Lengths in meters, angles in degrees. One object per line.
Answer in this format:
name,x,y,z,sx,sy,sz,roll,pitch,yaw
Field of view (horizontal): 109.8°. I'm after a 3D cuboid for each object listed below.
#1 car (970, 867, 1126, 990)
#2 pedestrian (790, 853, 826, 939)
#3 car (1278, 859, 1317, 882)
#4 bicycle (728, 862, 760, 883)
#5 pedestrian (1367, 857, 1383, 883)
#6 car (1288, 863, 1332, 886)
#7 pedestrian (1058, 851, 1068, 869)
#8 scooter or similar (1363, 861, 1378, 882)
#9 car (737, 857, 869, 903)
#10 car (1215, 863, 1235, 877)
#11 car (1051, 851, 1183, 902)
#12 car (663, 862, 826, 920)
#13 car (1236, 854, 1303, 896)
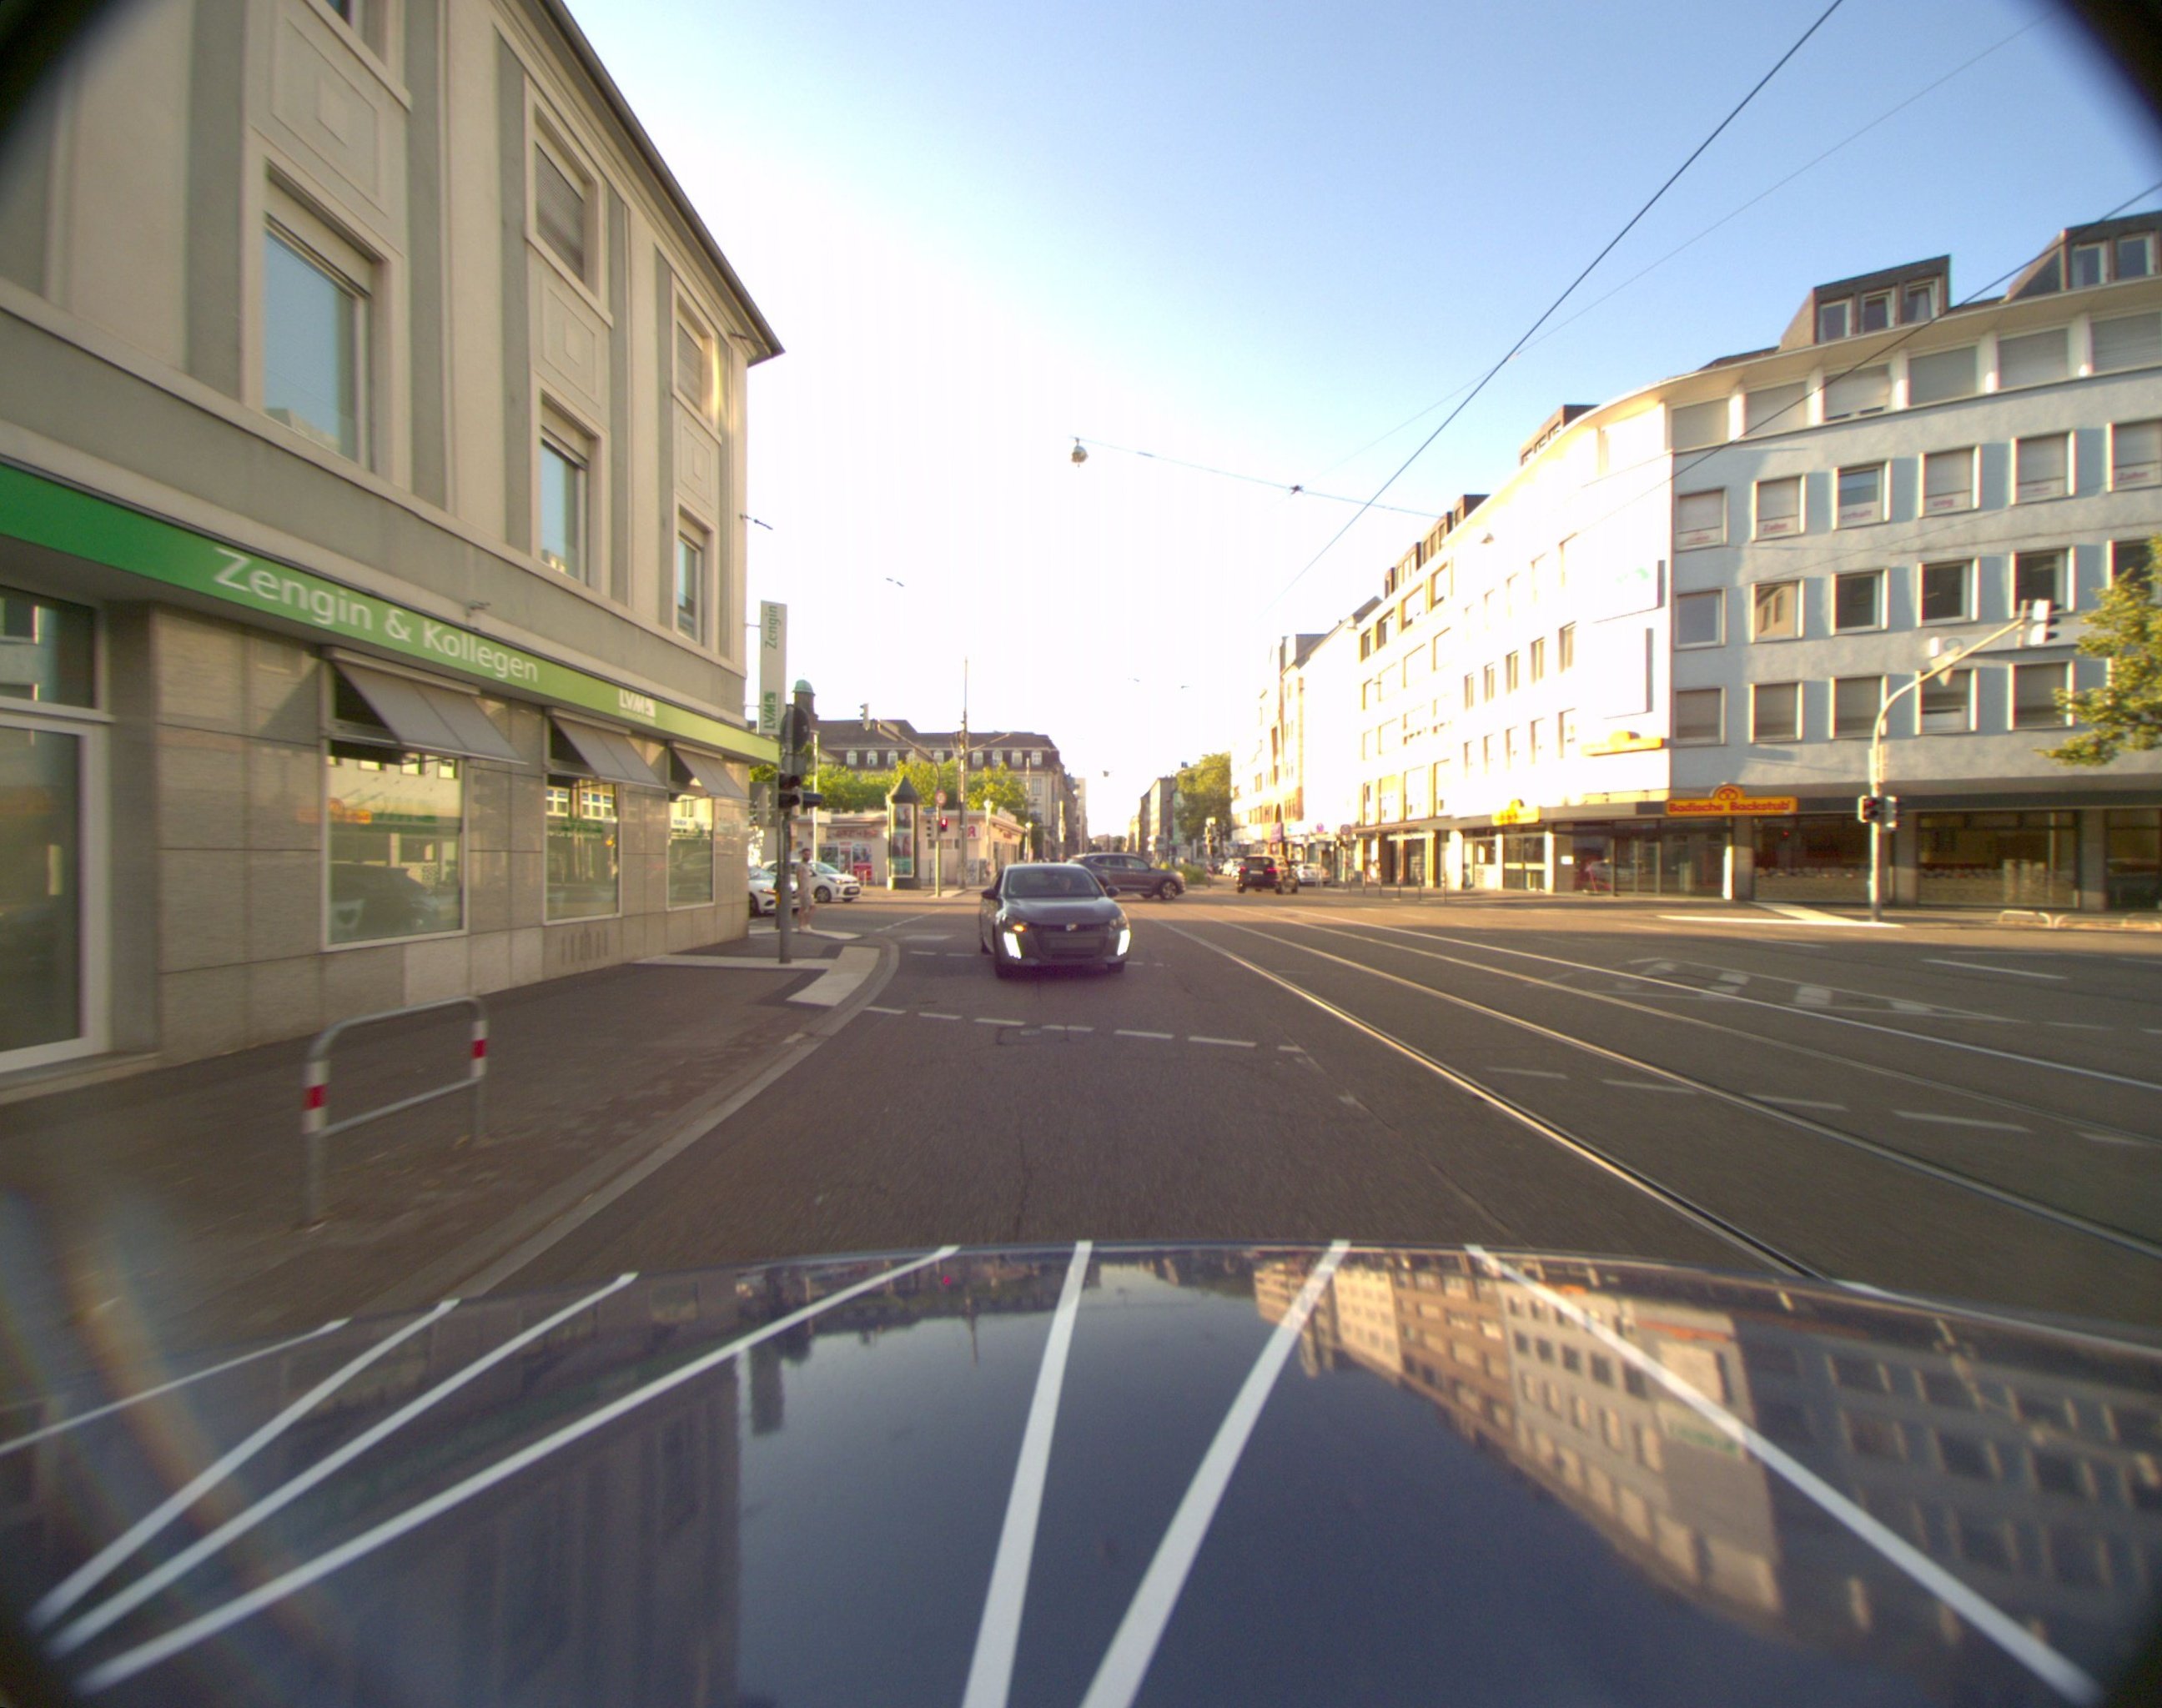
car,-0.676,0.960,11.456,1.752,1.434,3.902,-2,0,-11
pedestrian,-5.660,0.852,15.736,0.654,1.732,0.693,0,0,-23
car,14.166,1.077,49.930,1.636,1.345,3.389,-3,-1,2
bicycle,-18.850,1.024,42.560,0.395,1.096,1.815,0,0,25
pedestrian,16.877,0.937,43.601,0.544,1.463,0.624,-3,0,-14
car,13.625,1.185,45.285,1.636,1.246,3.389,-3,-1,2
pedestrian,-2.013,0.659,86.829,0.838,2.003,0.716,2,5,41
scooter or similar,17.304,1.029,45.457,0.395,1.251,1.467,-1,0,3
car,-9.688,0.896,26.585,3.978,1.463,1.721,1,0,10
car,14.492,1.607,76.575,1.459,1.284,3.147,-3,-1,2
car,1.235,0.760,26.656,4.262,1.688,1.826,0,0,-17
car,-9.451,0.986,21.374,3.976,1.463,1.831,0,1,18
car,8.352,0.853,33.350,1.801,1.688,4.578,0,0,28
